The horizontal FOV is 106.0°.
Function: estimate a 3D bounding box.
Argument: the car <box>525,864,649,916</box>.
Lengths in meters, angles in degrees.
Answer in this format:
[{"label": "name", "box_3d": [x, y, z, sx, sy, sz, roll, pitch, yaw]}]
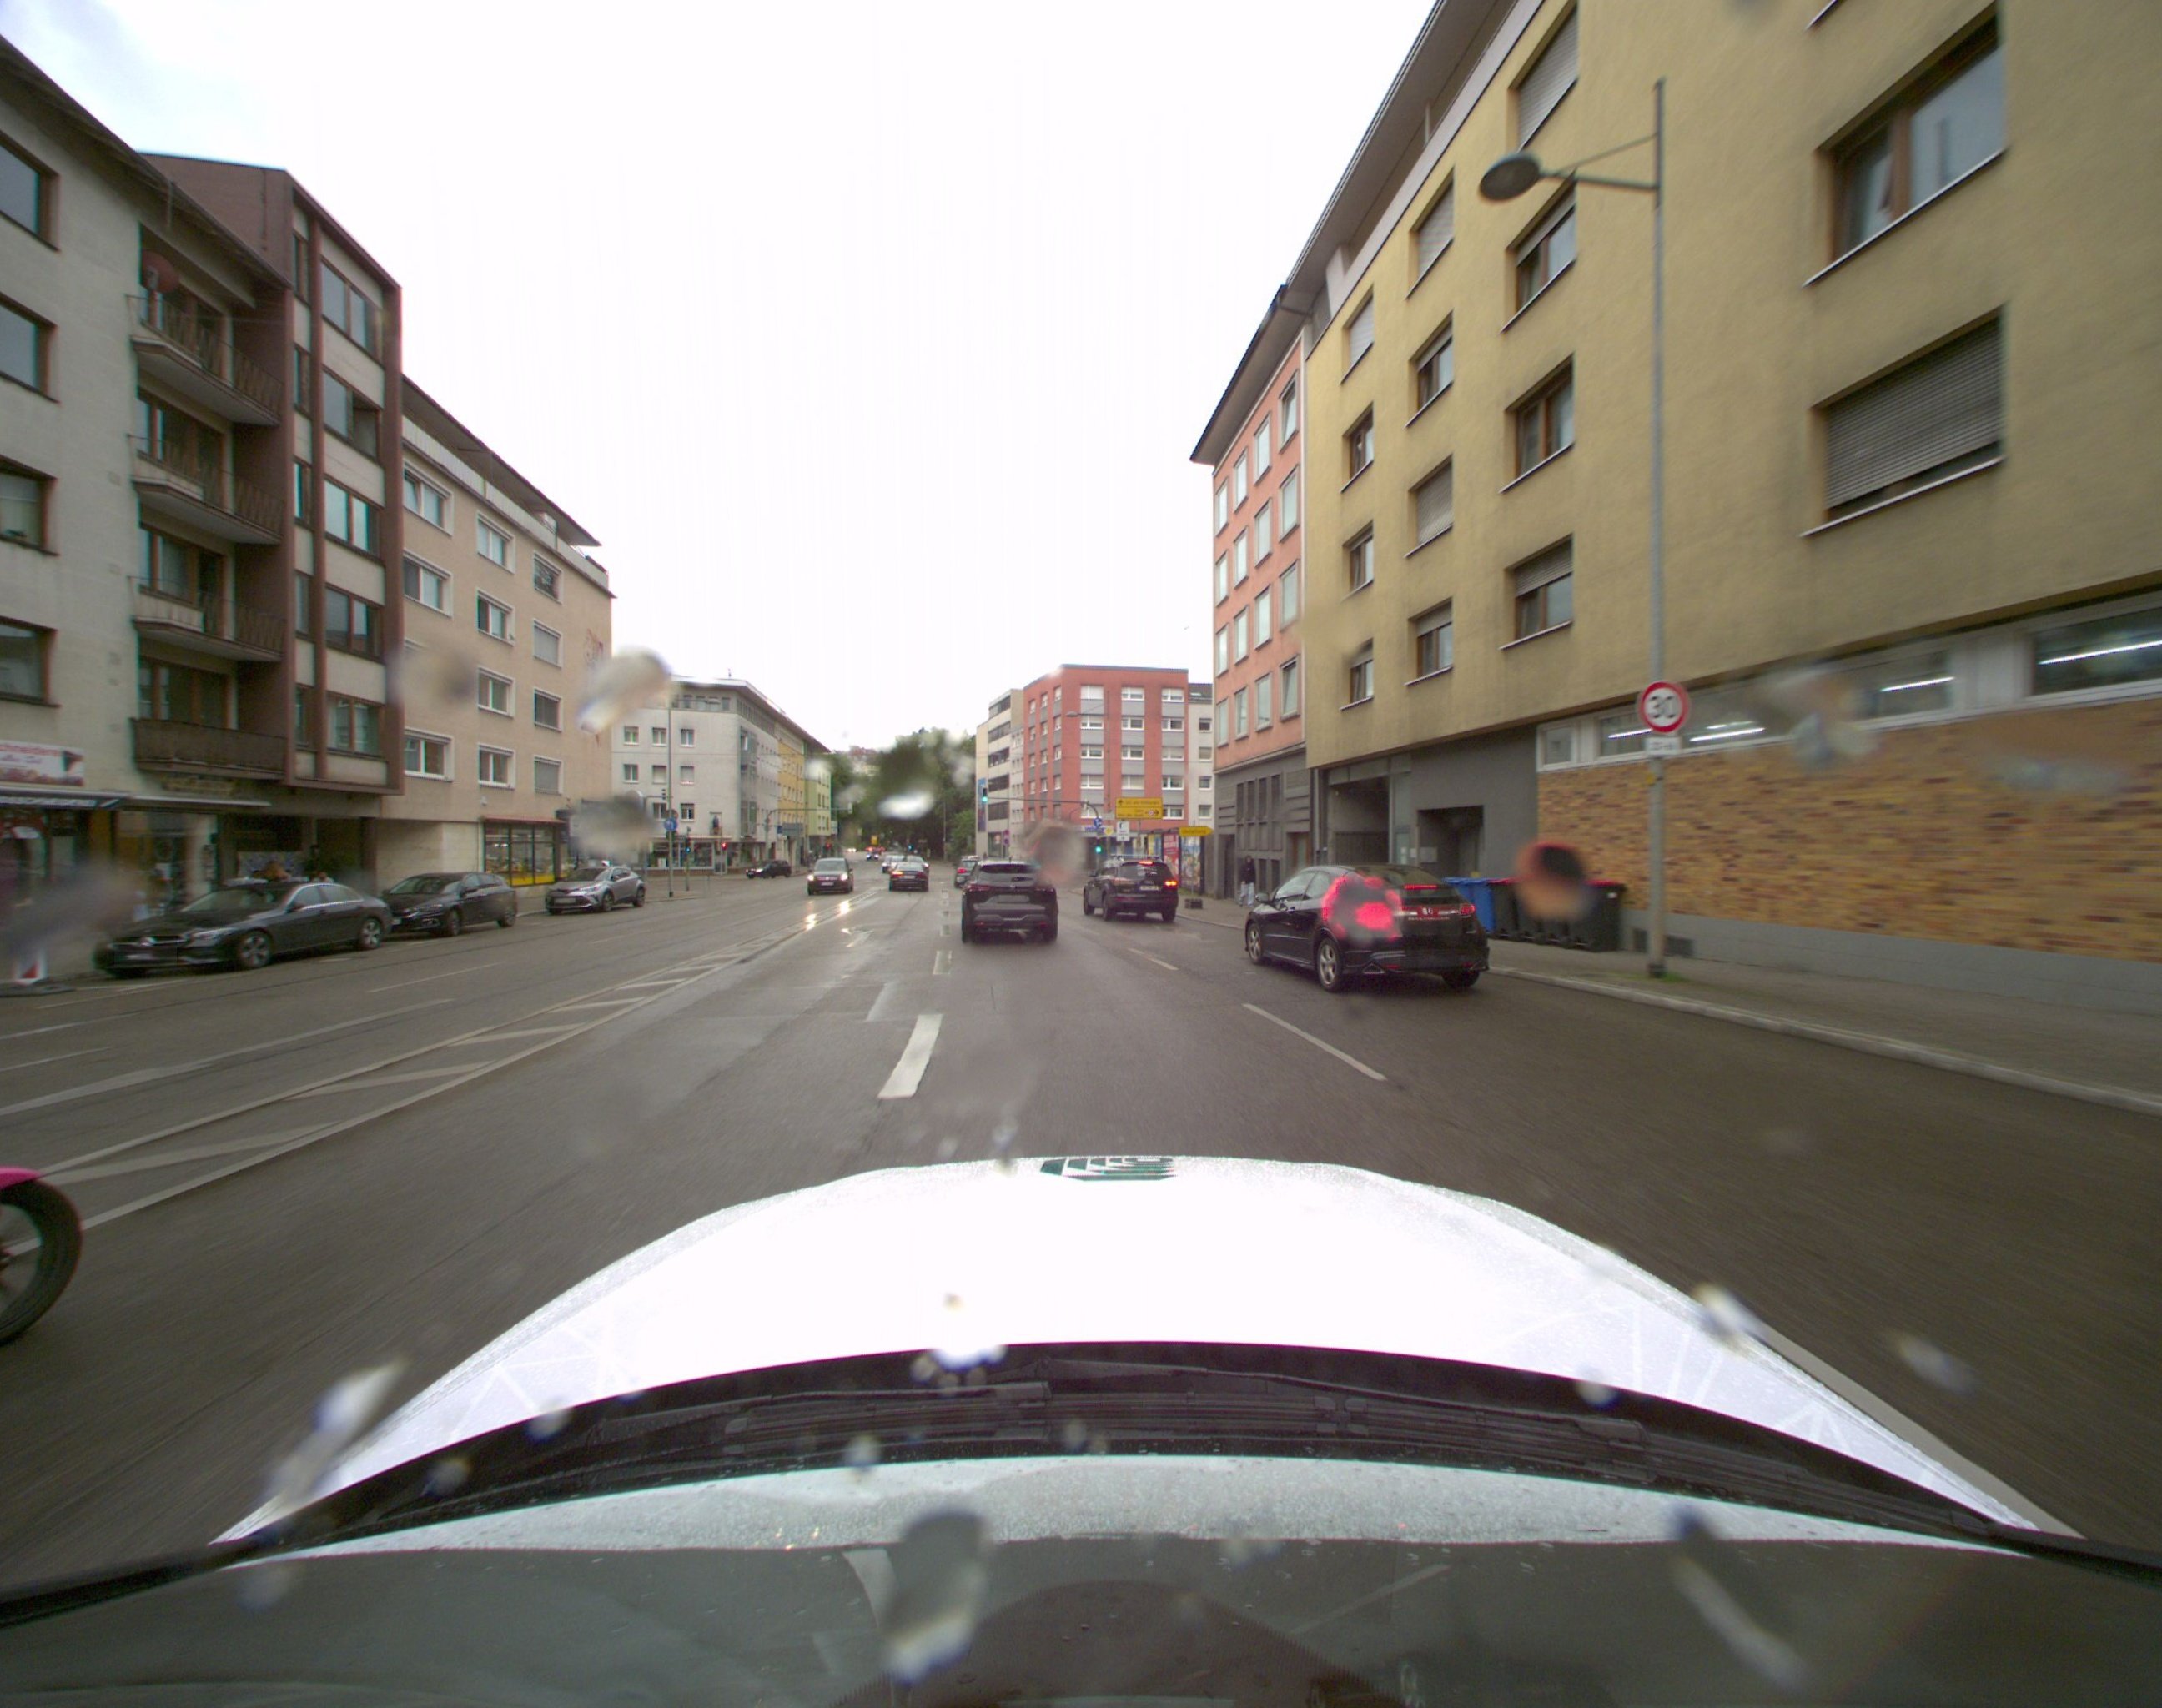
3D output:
[{"label": "car", "box_3d": [-16.800, 1.166, 27.985, 1.906, 1.554, 4.618, -2, 0, -8]}]

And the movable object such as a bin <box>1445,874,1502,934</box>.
[{"label": "movable object such as a bin", "box_3d": [7.271, 0.913, 15.096, 0.681, 1.077, 0.666, -1, -1, -9]}]

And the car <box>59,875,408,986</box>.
[{"label": "car", "box_3d": [-14.932, 1.219, 14.886, 1.883, 1.477, 4.959, -2, 0, -12]}]

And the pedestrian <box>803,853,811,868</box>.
[{"label": "pedestrian", "box_3d": [-29.665, 0.696, 88.175, 0.687, 1.581, 0.649, 2, 0, -10]}]

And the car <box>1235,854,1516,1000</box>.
[{"label": "car", "box_3d": [3.483, 0.777, 10.544, 1.782, 1.497, 4.046, 0, -1, -7]}]

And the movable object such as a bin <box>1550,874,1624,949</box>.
[{"label": "movable object such as a bin", "box_3d": [7.692, 0.855, 12.396, 0.681, 1.077, 0.666, -1, -1, -9]}]

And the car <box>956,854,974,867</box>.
[{"label": "car", "box_3d": [-14.181, 0.753, 99.430, 1.718, 1.442, 4.060, -2, 1, -16]}]

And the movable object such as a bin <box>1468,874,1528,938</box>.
[{"label": "movable object such as a bin", "box_3d": [7.379, 0.911, 14.422, 0.681, 1.077, 0.666, -1, -1, -9]}]

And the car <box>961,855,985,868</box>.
[{"label": "car", "box_3d": [-12.366, 0.808, 93.224, 1.780, 1.401, 4.550, -2, 1, -19]}]

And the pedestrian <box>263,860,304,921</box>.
[{"label": "pedestrian", "box_3d": [-21.242, 0.961, 21.705, 0.545, 1.583, 0.664, 0, -1, -23]}]

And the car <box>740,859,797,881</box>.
[{"label": "car", "box_3d": [-24.468, 1.219, 63.824, 1.676, 1.626, 4.024, -2, 0, 27]}]

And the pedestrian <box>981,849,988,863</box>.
[{"label": "pedestrian", "box_3d": [-12.066, 0.293, 101.968, 0.615, 1.737, 0.676, -2, 0, -24]}]

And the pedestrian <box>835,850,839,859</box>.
[{"label": "pedestrian", "box_3d": [-50.250, 0.162, 167.704, 0.669, 1.791, 0.716, 2, 0, -24]}]

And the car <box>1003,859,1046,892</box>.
[{"label": "car", "box_3d": [-3.472, 1.258, 49.406, 1.948, 1.816, 3.982, -2, 0, -13]}]

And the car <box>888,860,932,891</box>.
[{"label": "car", "box_3d": [-8.667, 1.043, 41.089, 1.996, 1.388, 4.480, 2, 0, -13]}]

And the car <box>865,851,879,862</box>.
[{"label": "car", "box_3d": [-35.429, 0.444, 137.918, 1.994, 1.859, 3.985, 2, 0, -11]}]

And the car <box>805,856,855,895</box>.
[{"label": "car", "box_3d": [-11.657, 0.967, 38.033, 1.864, 1.647, 4.235, -2, 0, -13]}]

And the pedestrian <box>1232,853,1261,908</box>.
[{"label": "pedestrian", "box_3d": [5.517, 0.879, 27.205, 0.672, 1.787, 1.093, 0, 0, -6]}]

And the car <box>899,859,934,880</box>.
[{"label": "car", "box_3d": [-13.160, 1.219, 64.988, 1.864, 1.553, 4.194, -1, 0, -23]}]

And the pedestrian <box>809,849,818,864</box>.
[{"label": "pedestrian", "box_3d": [-32.514, 0.301, 99.131, 0.866, 1.788, 0.872, 2, -1, -11]}]

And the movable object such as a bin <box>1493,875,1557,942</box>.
[{"label": "movable object such as a bin", "box_3d": [7.482, 0.903, 13.750, 0.681, 1.077, 0.666, -1, -1, -9]}]

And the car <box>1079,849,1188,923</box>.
[{"label": "car", "box_3d": [1.379, 0.847, 23.519, 2.021, 1.869, 4.882, 1, -1, -10]}]

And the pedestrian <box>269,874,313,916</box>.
[{"label": "pedestrian", "box_3d": [-22.220, 1.154, 22.913, 0.608, 1.148, 0.630, 0, -1, -9]}]

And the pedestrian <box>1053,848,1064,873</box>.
[{"label": "pedestrian", "box_3d": [-2.001, 0.583, 73.140, 0.825, 2.158, 0.767, 2, 0, -11]}]

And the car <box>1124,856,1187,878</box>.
[{"label": "car", "box_3d": [5.326, 0.919, 58.223, 4.008, 1.486, 1.983, 1, 0, -27]}]

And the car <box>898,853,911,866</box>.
[{"label": "car", "box_3d": [-26.688, 0.819, 122.930, 1.824, 1.796, 3.847, 2, 0, -14]}]

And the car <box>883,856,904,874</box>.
[{"label": "car", "box_3d": [-17.243, 1.011, 74.944, 1.822, 1.608, 4.411, -1, 0, -12]}]

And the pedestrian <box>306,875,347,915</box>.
[{"label": "pedestrian", "box_3d": [-21.846, 1.177, 23.585, 0.667, 1.148, 0.598, 0, -1, 18]}]

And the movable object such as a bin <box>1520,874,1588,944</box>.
[{"label": "movable object such as a bin", "box_3d": [7.581, 0.866, 13.072, 0.681, 1.077, 0.666, -1, -1, -9]}]

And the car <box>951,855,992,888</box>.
[{"label": "car", "box_3d": [-6.206, 0.947, 45.816, 1.947, 1.684, 3.983, -2, 0, -12]}]

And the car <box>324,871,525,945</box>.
[{"label": "car", "box_3d": [-15.883, 1.225, 20.082, 1.995, 1.477, 4.500, -1, 0, -12]}]

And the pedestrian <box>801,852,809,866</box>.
[{"label": "pedestrian", "box_3d": [-33.080, 0.554, 97.568, 0.800, 1.688, 0.812, 0, 0, -18]}]

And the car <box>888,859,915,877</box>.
[{"label": "car", "box_3d": [-15.441, 1.185, 69.882, 1.938, 1.527, 4.111, -1, -1, -17]}]

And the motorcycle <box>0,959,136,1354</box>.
[{"label": "motorcycle", "box_3d": [-3.657, 0.983, 1.882, 0.586, 1.191, 2.099, -1, 0, -4]}]

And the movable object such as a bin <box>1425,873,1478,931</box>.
[{"label": "movable object such as a bin", "box_3d": [7.174, 0.911, 15.789, 0.681, 1.077, 0.666, -1, -1, -9]}]

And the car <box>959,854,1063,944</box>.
[{"label": "car", "box_3d": [-1.557, 0.852, 16.842, 1.894, 1.629, 3.988, 0, -1, -9]}]
